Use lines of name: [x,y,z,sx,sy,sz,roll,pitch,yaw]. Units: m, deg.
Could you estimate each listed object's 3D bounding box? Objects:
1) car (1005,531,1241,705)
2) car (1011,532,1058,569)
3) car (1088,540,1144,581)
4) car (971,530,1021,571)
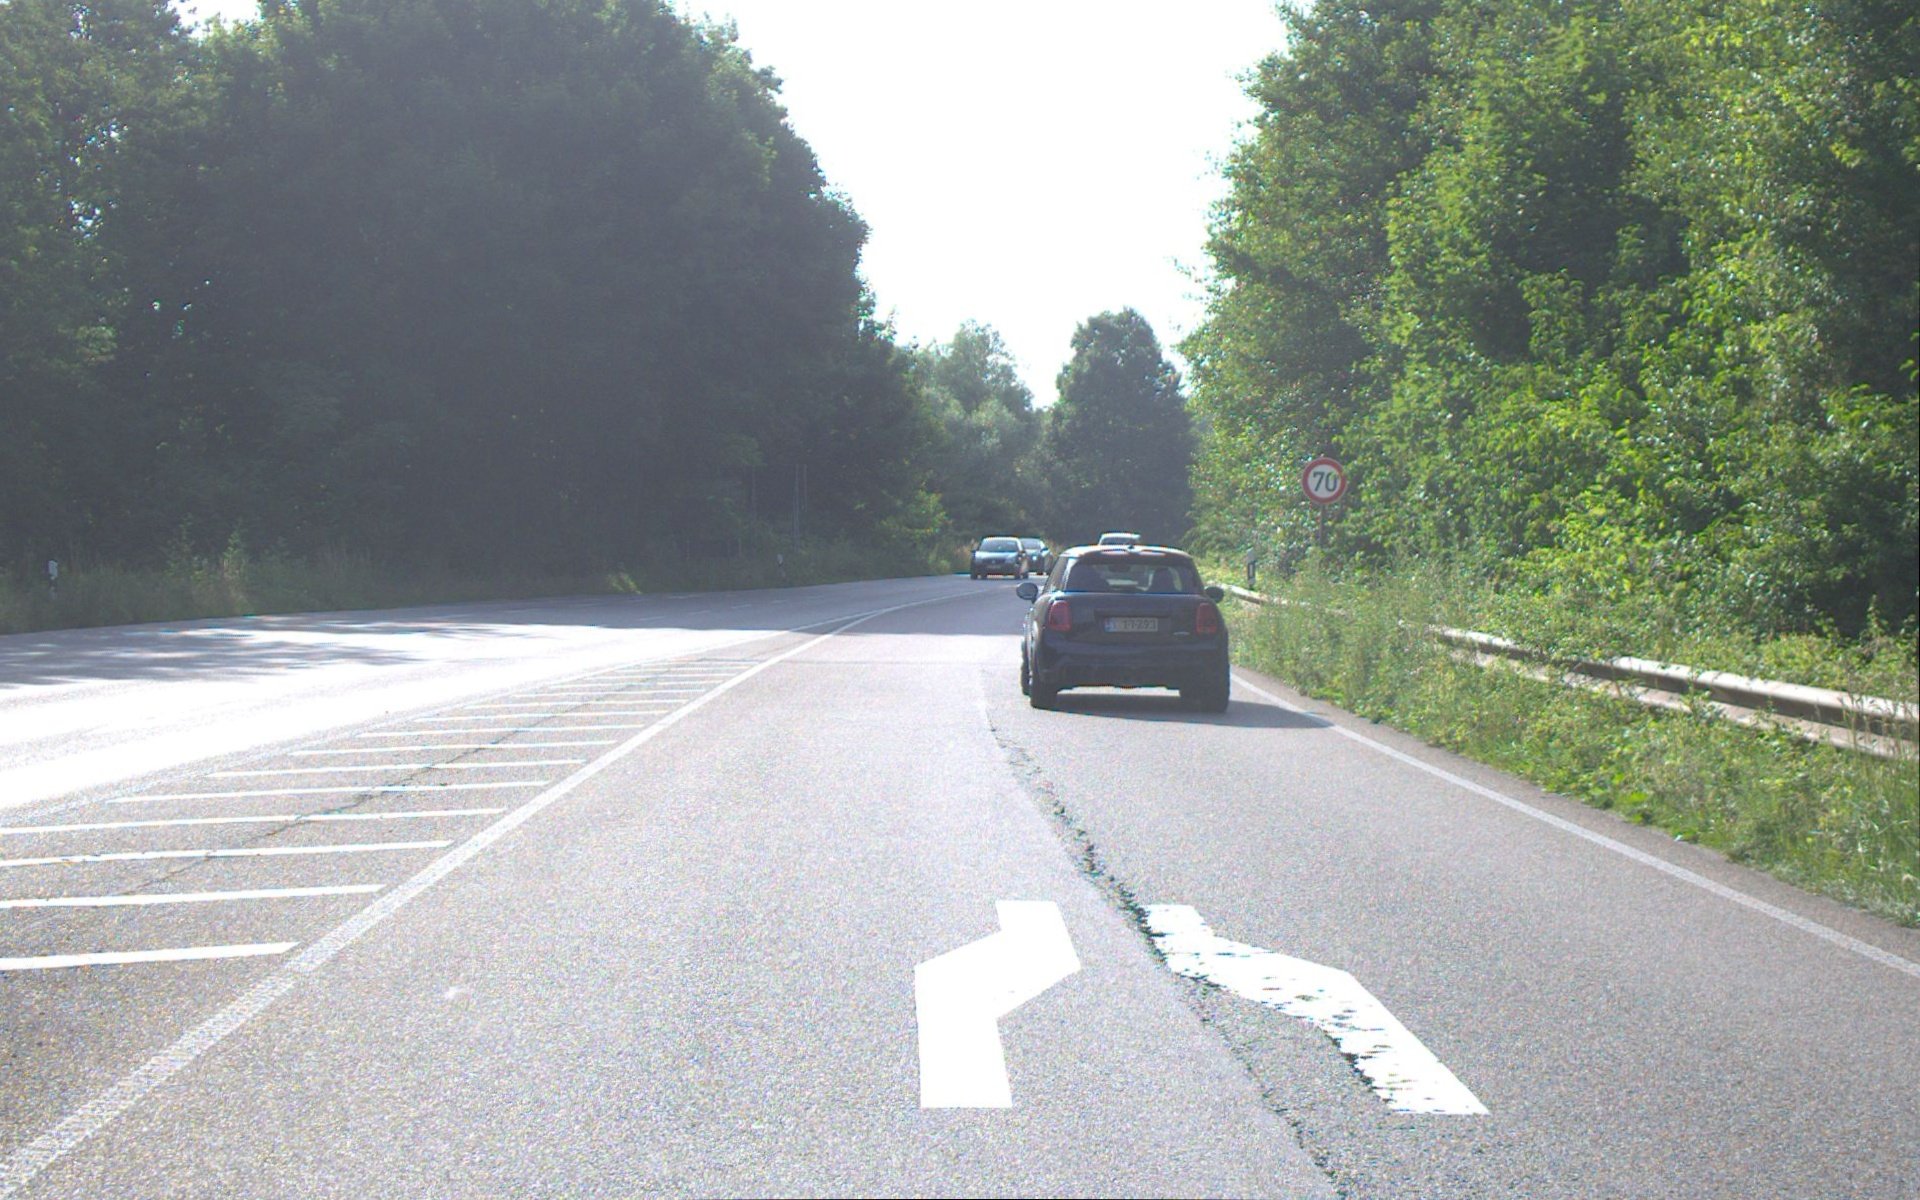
car: [1.423,0.160,31.464,1.819,1.463,3.873,1,0,-2]
car: [2.941,-1.959,136.583,1.761,1.375,3.971,1,0,0]
car: [5.464,-1.382,120.702,1.761,1.375,3.971,1,0,0]
car: [1.279,-1.762,122.323,1.761,1.375,3.971,1,0,1]
